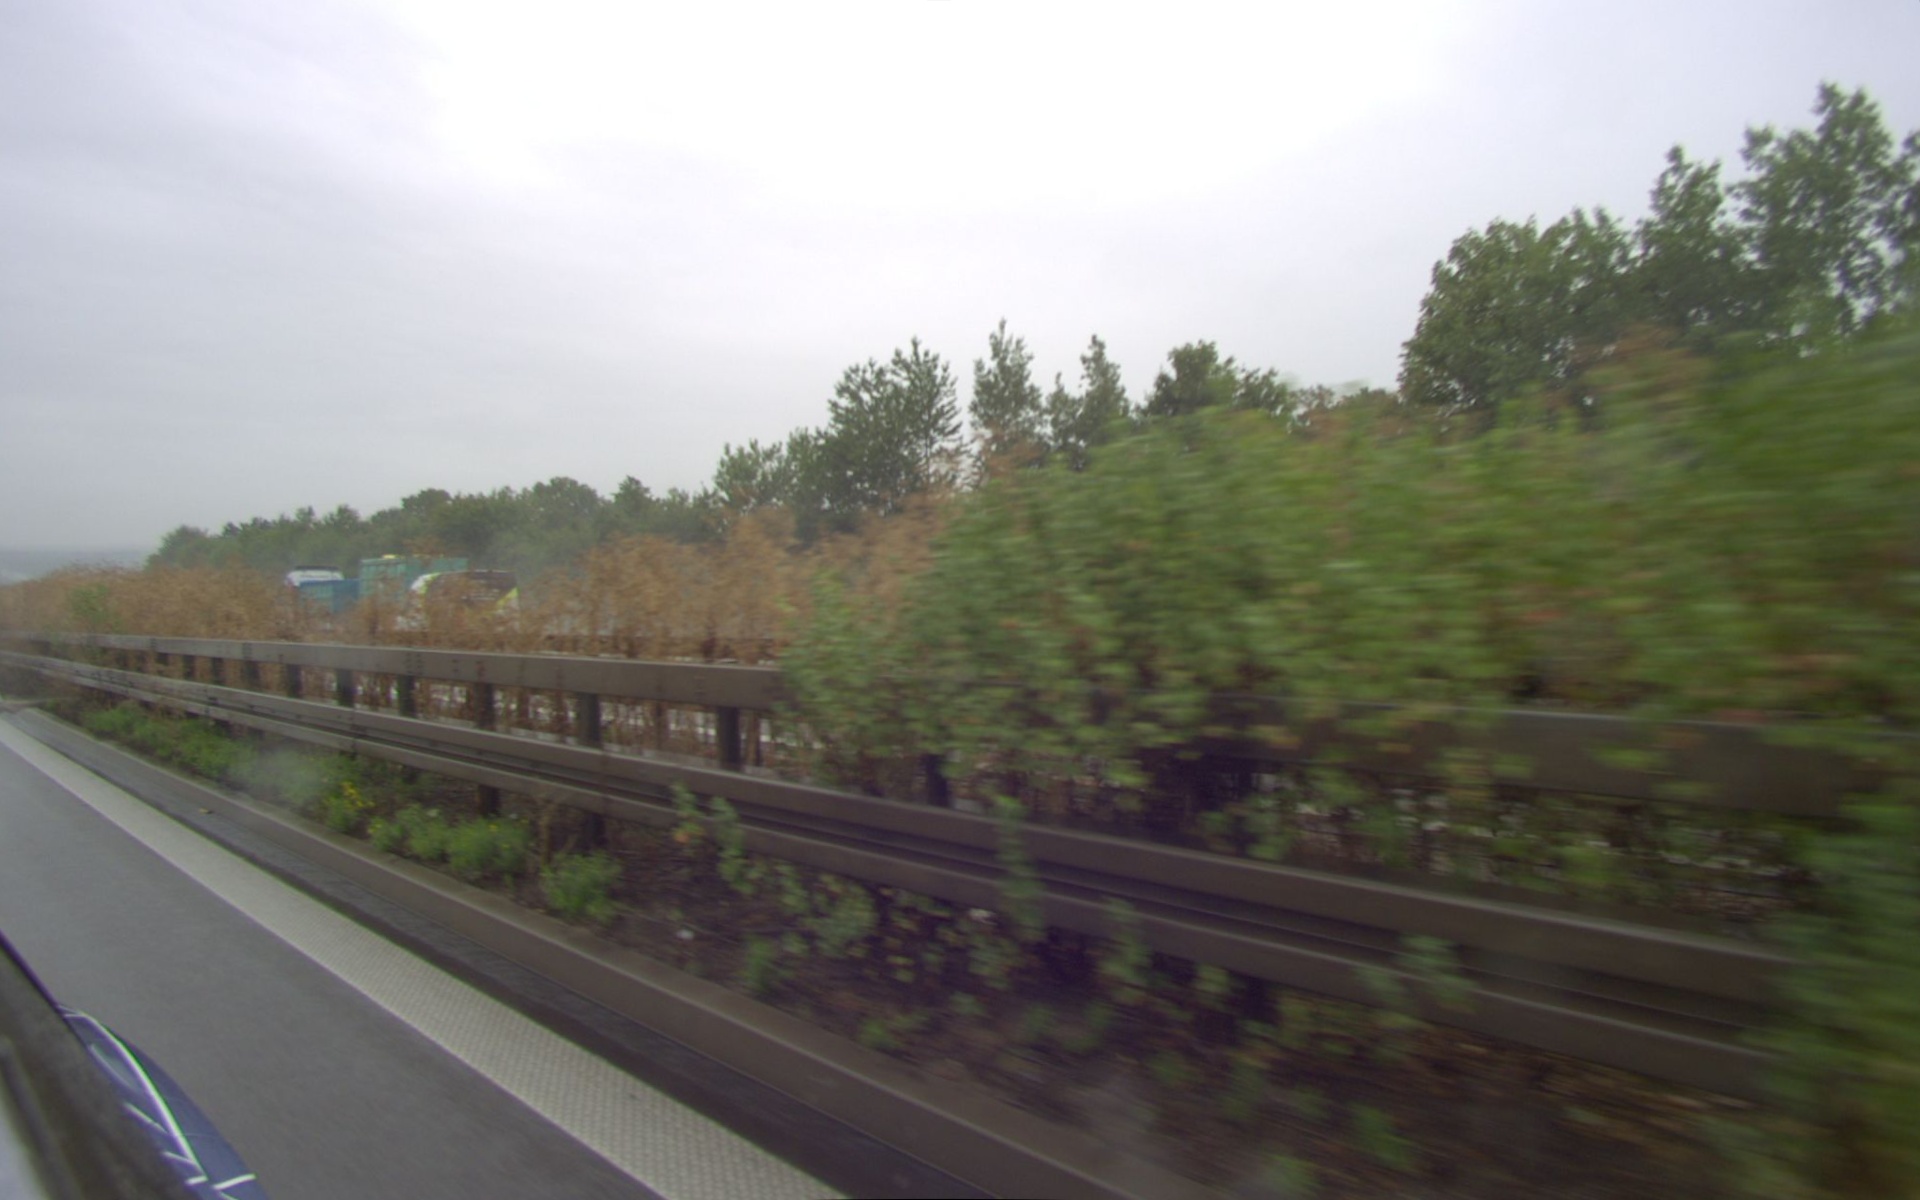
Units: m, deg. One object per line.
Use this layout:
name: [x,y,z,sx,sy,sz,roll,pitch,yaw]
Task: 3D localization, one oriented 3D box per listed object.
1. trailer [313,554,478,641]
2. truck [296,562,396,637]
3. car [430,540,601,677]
trailer: [-25.029,-0.054,44.455,11.833,3.364,2.622,-1,0,42]
truck: [-29.436,0.002,48.429,5.529,3.364,2.620,-1,0,42]
car: [-12.784,0.249,28.893,6.049,3.524,1.974,-1,-1,40]
